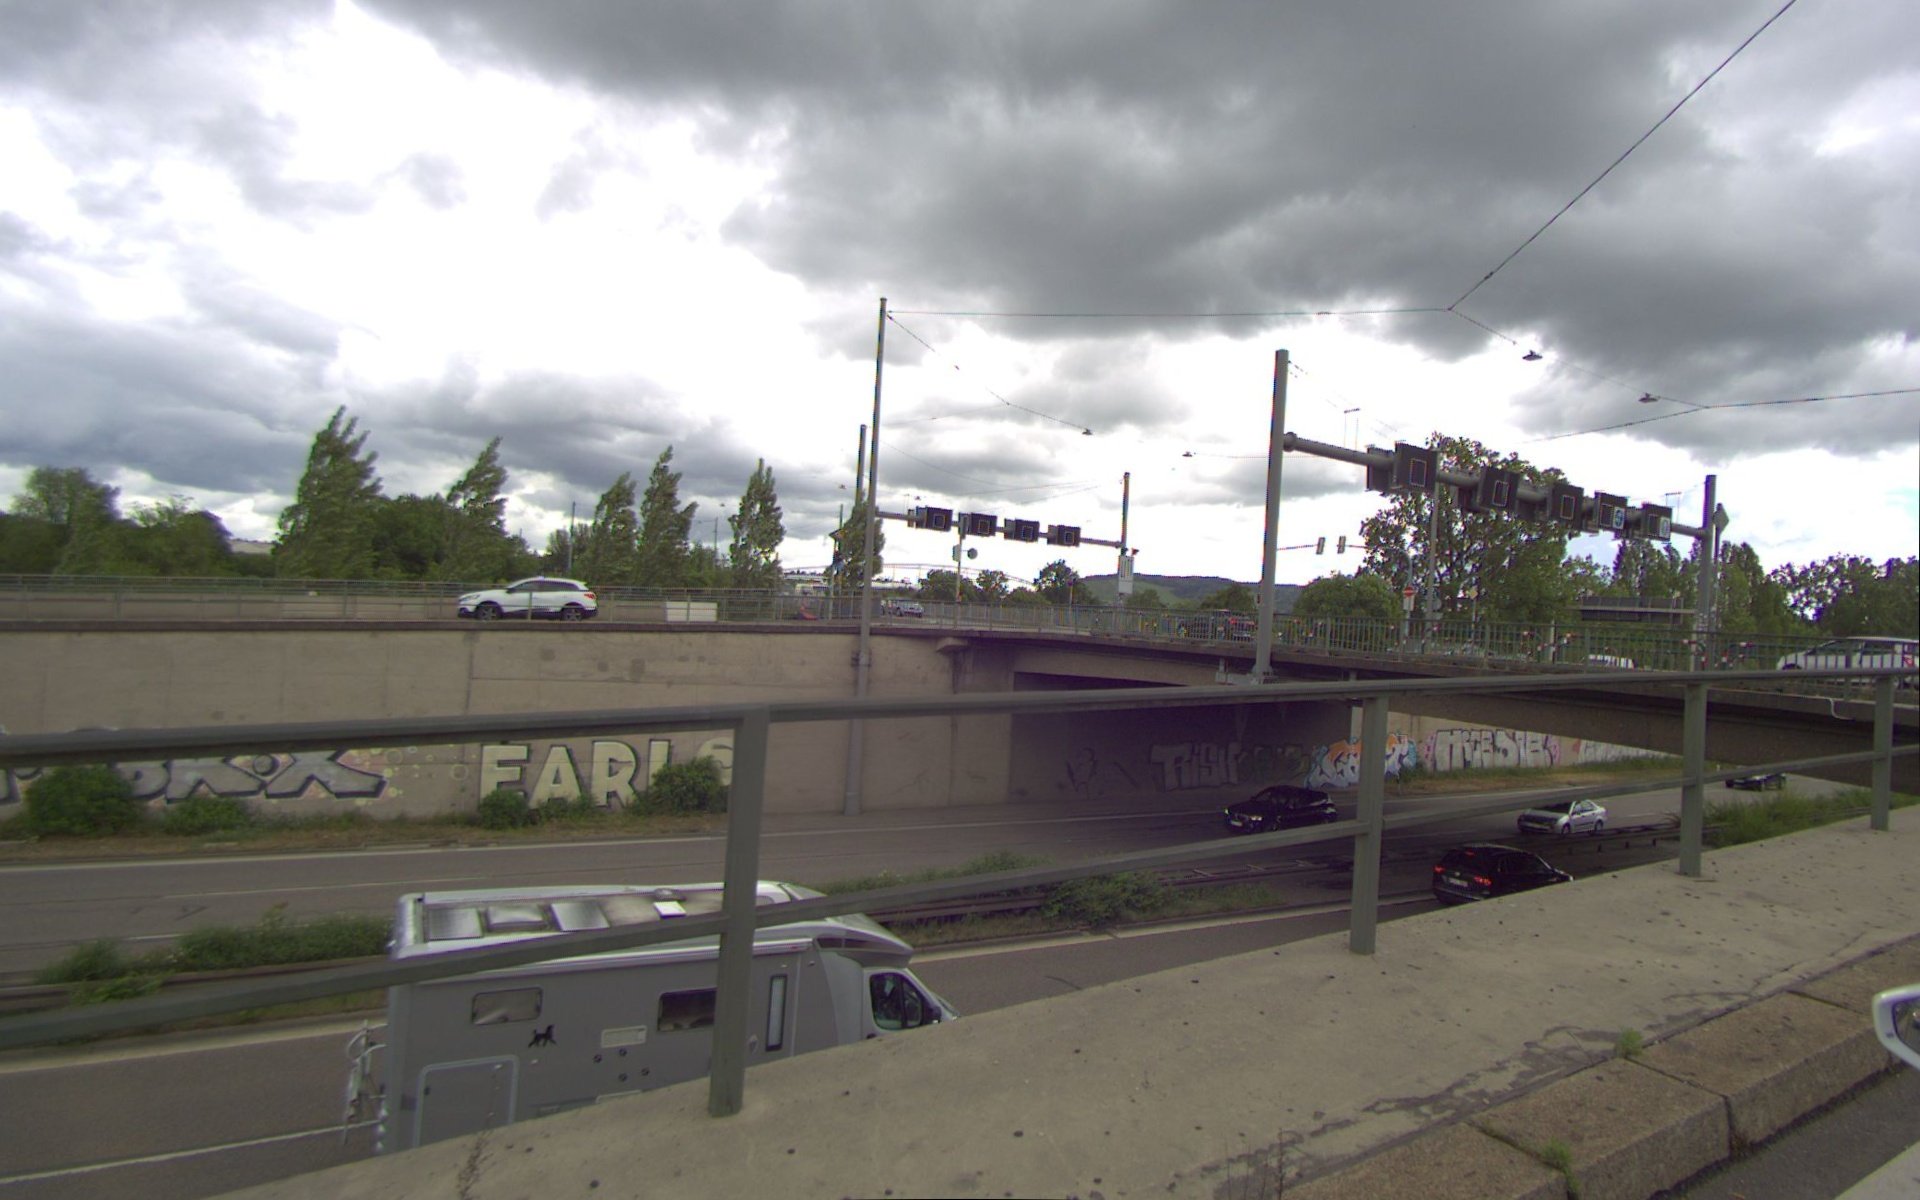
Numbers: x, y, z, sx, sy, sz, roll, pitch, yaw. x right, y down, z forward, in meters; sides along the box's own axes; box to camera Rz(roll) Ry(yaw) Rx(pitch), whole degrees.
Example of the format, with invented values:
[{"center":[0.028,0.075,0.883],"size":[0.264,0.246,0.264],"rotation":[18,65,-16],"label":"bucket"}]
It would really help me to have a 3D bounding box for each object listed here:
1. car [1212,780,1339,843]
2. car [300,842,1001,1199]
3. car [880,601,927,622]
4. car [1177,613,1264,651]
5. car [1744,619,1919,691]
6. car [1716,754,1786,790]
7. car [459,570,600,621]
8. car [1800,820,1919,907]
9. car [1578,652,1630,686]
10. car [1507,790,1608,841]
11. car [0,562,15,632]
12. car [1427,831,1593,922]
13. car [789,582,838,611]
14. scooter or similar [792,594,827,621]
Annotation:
[{"center":[11.486,7.639,36.514],"size":[4.502,1.761,1.905],"rotation":[4,-3,-31],"label":"car"},{"center":[-3.401,5.037,12.347],"size":[7.567,3.282,2.352],"rotation":[4,-3,-28],"label":"car"},{"center":[-3.849,0.774,67.807],"size":[1.537,1.372,3.860],"rotation":[1,0,-31],"label":"car"},{"center":[12.787,1.552,49.481],"size":[1.915,1.740,3.966],"rotation":[1,0,-31],"label":"car"},{"center":[24.267,1.435,27.547],"size":[1.907,1.740,3.984],"rotation":[1,0,-18],"label":"car"},{"center":[48.704,10.539,61.820],"size":[4.360,1.865,1.921],"rotation":[4,-2,-31],"label":"car"},{"center":[-14.658,-0.132,34.215],"size":[4.292,1.597,1.825],"rotation":[1,0,-28],"label":"car"},{"center":[28.538,8.176,31.523],"size":[4.845,1.960,1.938],"rotation":[5,-2,-33],"label":"car"},{"center":[45.961,4.899,71.691],"size":[3.626,2.245,1.843],"rotation":[1,0,-35],"label":"car"},{"center":[23.863,8.542,40.105],"size":[4.040,1.548,1.720],"rotation":[5,-2,-30],"label":"car"},{"center":[-27.924,-0.127,26.353],"size":[4.164,1.895,1.984],"rotation":[1,0,-30],"label":"car"},{"center":[14.625,7.255,26.669],"size":[4.227,1.735,1.833],"rotation":[5,-3,-28],"label":"car"},{"center":[-10.719,-0.229,73.408],"size":[1.711,2.040,4.442],"rotation":[1,0,-35],"label":"car"},{"center":[-6.696,0.345,44.646],"size":[1.402,1.108,0.539],"rotation":[3,-2,-34],"label":"scooter or similar"}]
